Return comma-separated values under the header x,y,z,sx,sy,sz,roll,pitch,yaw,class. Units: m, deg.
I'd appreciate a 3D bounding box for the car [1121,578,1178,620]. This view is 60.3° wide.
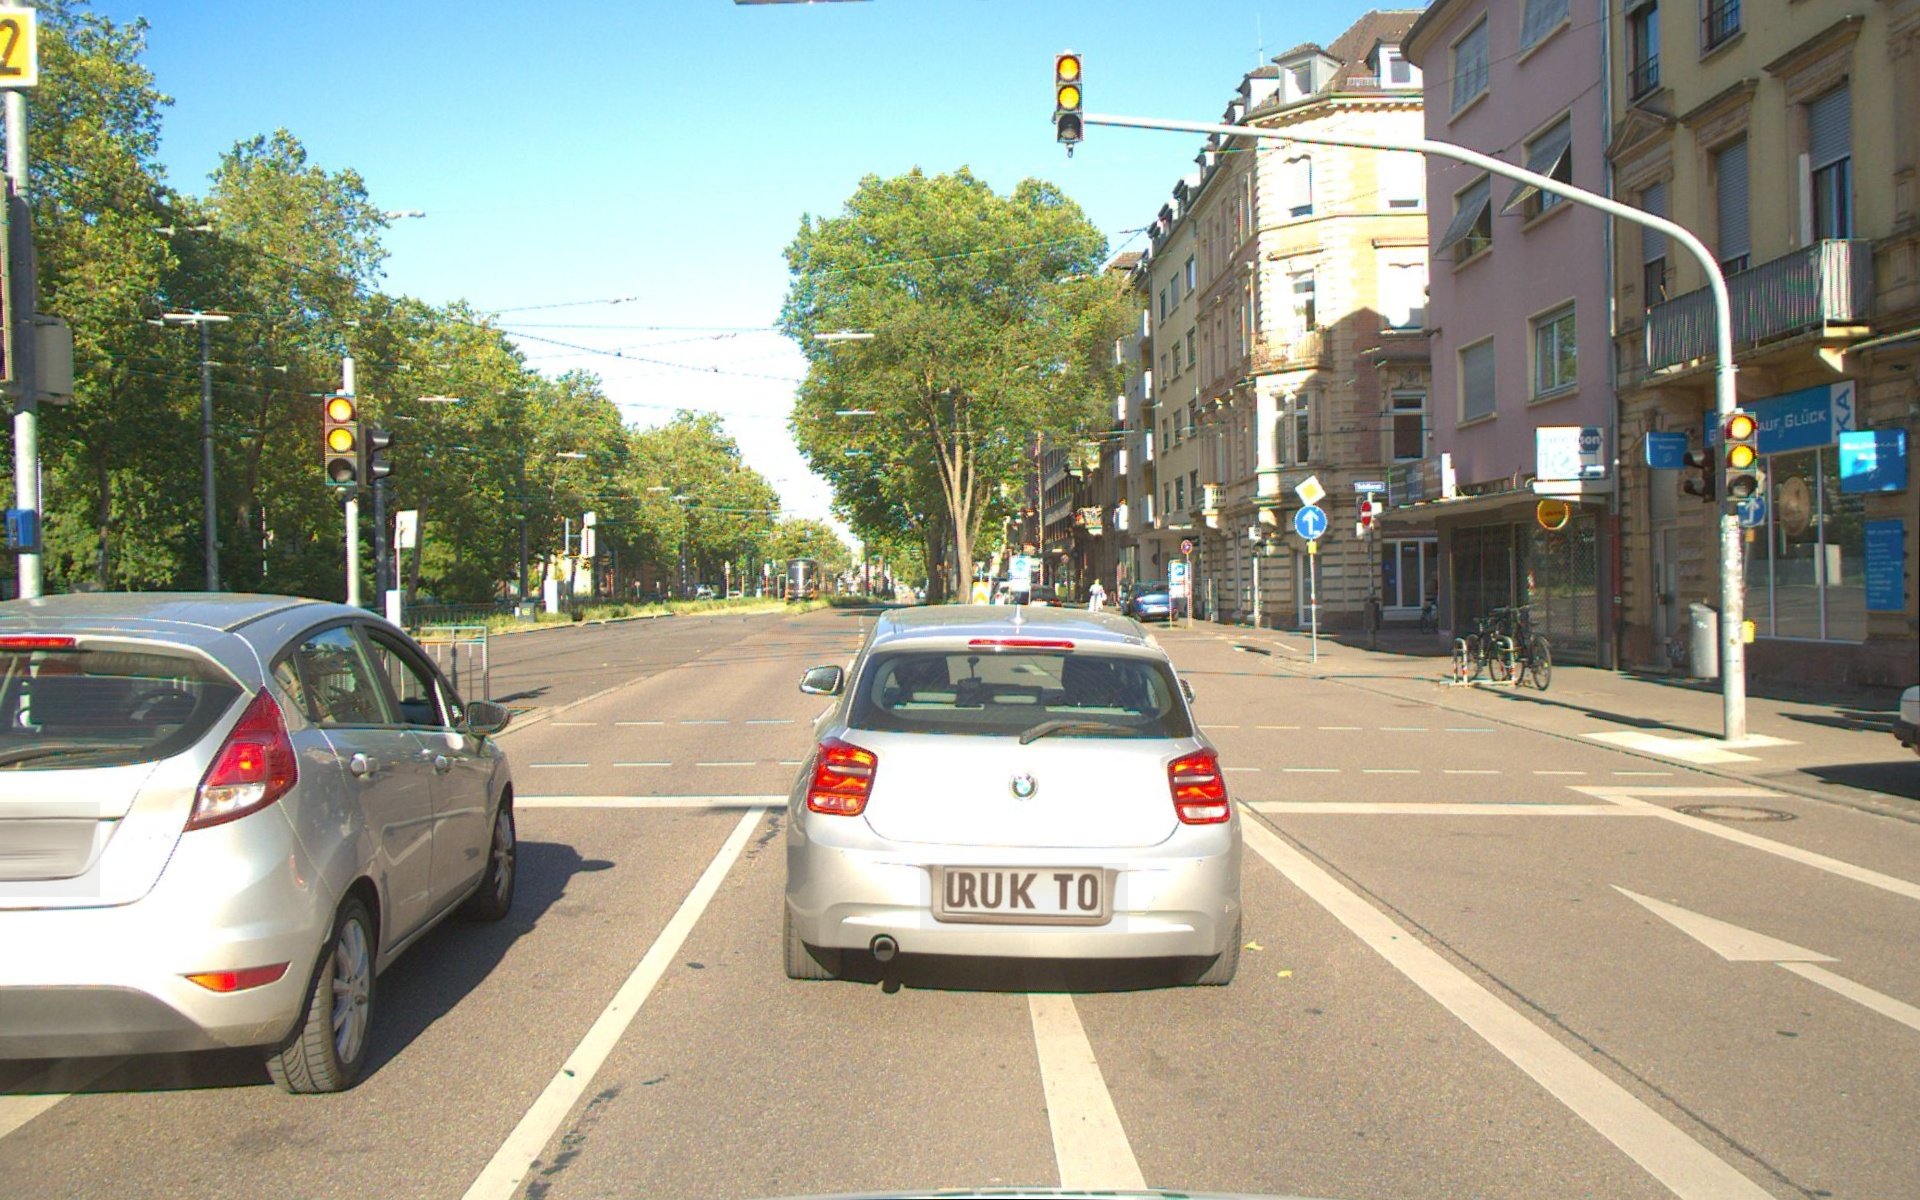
x,y,z,sx,sy,sz,roll,pitch,yaw,class
7.297,-0.061,64.057,1.700,1.546,3.635,0,1,-2,car

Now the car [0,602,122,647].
x,y,z,sx,sy,sz,roll,pitch,yaw,class
-29.399,0.773,53.859,1.897,1.372,4.847,-1,0,-2,car

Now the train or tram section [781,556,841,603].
x,y,z,sx,sy,sz,roll,pitch,yaw,class
-13.128,-1.819,147.607,3.924,3.933,17.486,-1,1,-1,train or tram section

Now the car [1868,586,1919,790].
x,y,z,sx,sy,sz,roll,pitch,yaw,class
7.617,0.607,10.366,1.531,1.440,4.003,-4,1,-1,car

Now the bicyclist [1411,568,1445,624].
x,y,z,sx,sy,sz,roll,pitch,yaw,class
13.046,-0.112,46.117,0.538,1.528,0.956,-1,1,40,bicyclist

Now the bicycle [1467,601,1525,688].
x,y,z,sx,sy,sz,roll,pitch,yaw,class
7.598,0.607,23.510,0.405,1.160,1.811,0,1,5,bicycle

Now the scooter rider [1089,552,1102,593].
x,y,z,sx,sy,sz,roll,pitch,yaw,class
5.140,-1.050,62.695,0.455,1.531,0.811,-1,1,5,scooter rider

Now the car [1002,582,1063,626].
x,y,z,sx,sy,sz,roll,pitch,yaw,class
2.514,0.119,58.248,1.701,1.458,3.675,0,1,-5,car

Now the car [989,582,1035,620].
x,y,z,sx,sy,sz,roll,pitch,yaw,class
2.156,0.023,69.349,1.690,1.533,3.553,0,1,-2,car

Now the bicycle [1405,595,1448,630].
x,y,z,sx,sy,sz,roll,pitch,yaw,class
12.996,0.342,46.062,0.642,0.919,1.331,0,1,41,bicycle

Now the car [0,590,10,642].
x,y,z,sx,sy,sz,roll,pitch,yaw,class
-29.422,0.509,47.784,1.636,1.536,4.143,-1,1,-2,car

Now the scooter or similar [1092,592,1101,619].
x,y,z,sx,sy,sz,roll,pitch,yaw,class
5.178,0.194,62.706,0.330,1.005,1.285,-1,1,4,scooter or similar

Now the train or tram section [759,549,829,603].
x,y,z,sx,sy,sz,roll,pitch,yaw,class
-12.875,-1.850,130.085,3.888,3.933,17.486,-1,1,-1,train or tram section

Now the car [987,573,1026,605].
x,y,z,sx,sy,sz,roll,pitch,yaw,class
2.292,-0.566,82.305,1.690,1.533,3.553,0,1,-2,car

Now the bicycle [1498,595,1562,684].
x,y,z,sx,sy,sz,roll,pitch,yaw,class
8.087,0.539,23.513,0.439,1.179,1.759,-1,1,5,bicycle

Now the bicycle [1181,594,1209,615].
x,y,z,sx,sy,sz,roll,pitch,yaw,class
9.160,0.183,64.473,0.739,0.784,1.944,-1,1,-2,bicycle

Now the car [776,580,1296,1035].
x,y,z,sx,sy,sz,roll,pitch,yaw,class
0.222,0.668,7.482,1.705,1.493,3.999,1,1,-1,car

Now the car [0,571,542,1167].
x,y,z,sx,sy,sz,roll,pitch,yaw,class
-2.673,0.661,6.093,1.578,1.493,3.886,-1,1,-5,car
